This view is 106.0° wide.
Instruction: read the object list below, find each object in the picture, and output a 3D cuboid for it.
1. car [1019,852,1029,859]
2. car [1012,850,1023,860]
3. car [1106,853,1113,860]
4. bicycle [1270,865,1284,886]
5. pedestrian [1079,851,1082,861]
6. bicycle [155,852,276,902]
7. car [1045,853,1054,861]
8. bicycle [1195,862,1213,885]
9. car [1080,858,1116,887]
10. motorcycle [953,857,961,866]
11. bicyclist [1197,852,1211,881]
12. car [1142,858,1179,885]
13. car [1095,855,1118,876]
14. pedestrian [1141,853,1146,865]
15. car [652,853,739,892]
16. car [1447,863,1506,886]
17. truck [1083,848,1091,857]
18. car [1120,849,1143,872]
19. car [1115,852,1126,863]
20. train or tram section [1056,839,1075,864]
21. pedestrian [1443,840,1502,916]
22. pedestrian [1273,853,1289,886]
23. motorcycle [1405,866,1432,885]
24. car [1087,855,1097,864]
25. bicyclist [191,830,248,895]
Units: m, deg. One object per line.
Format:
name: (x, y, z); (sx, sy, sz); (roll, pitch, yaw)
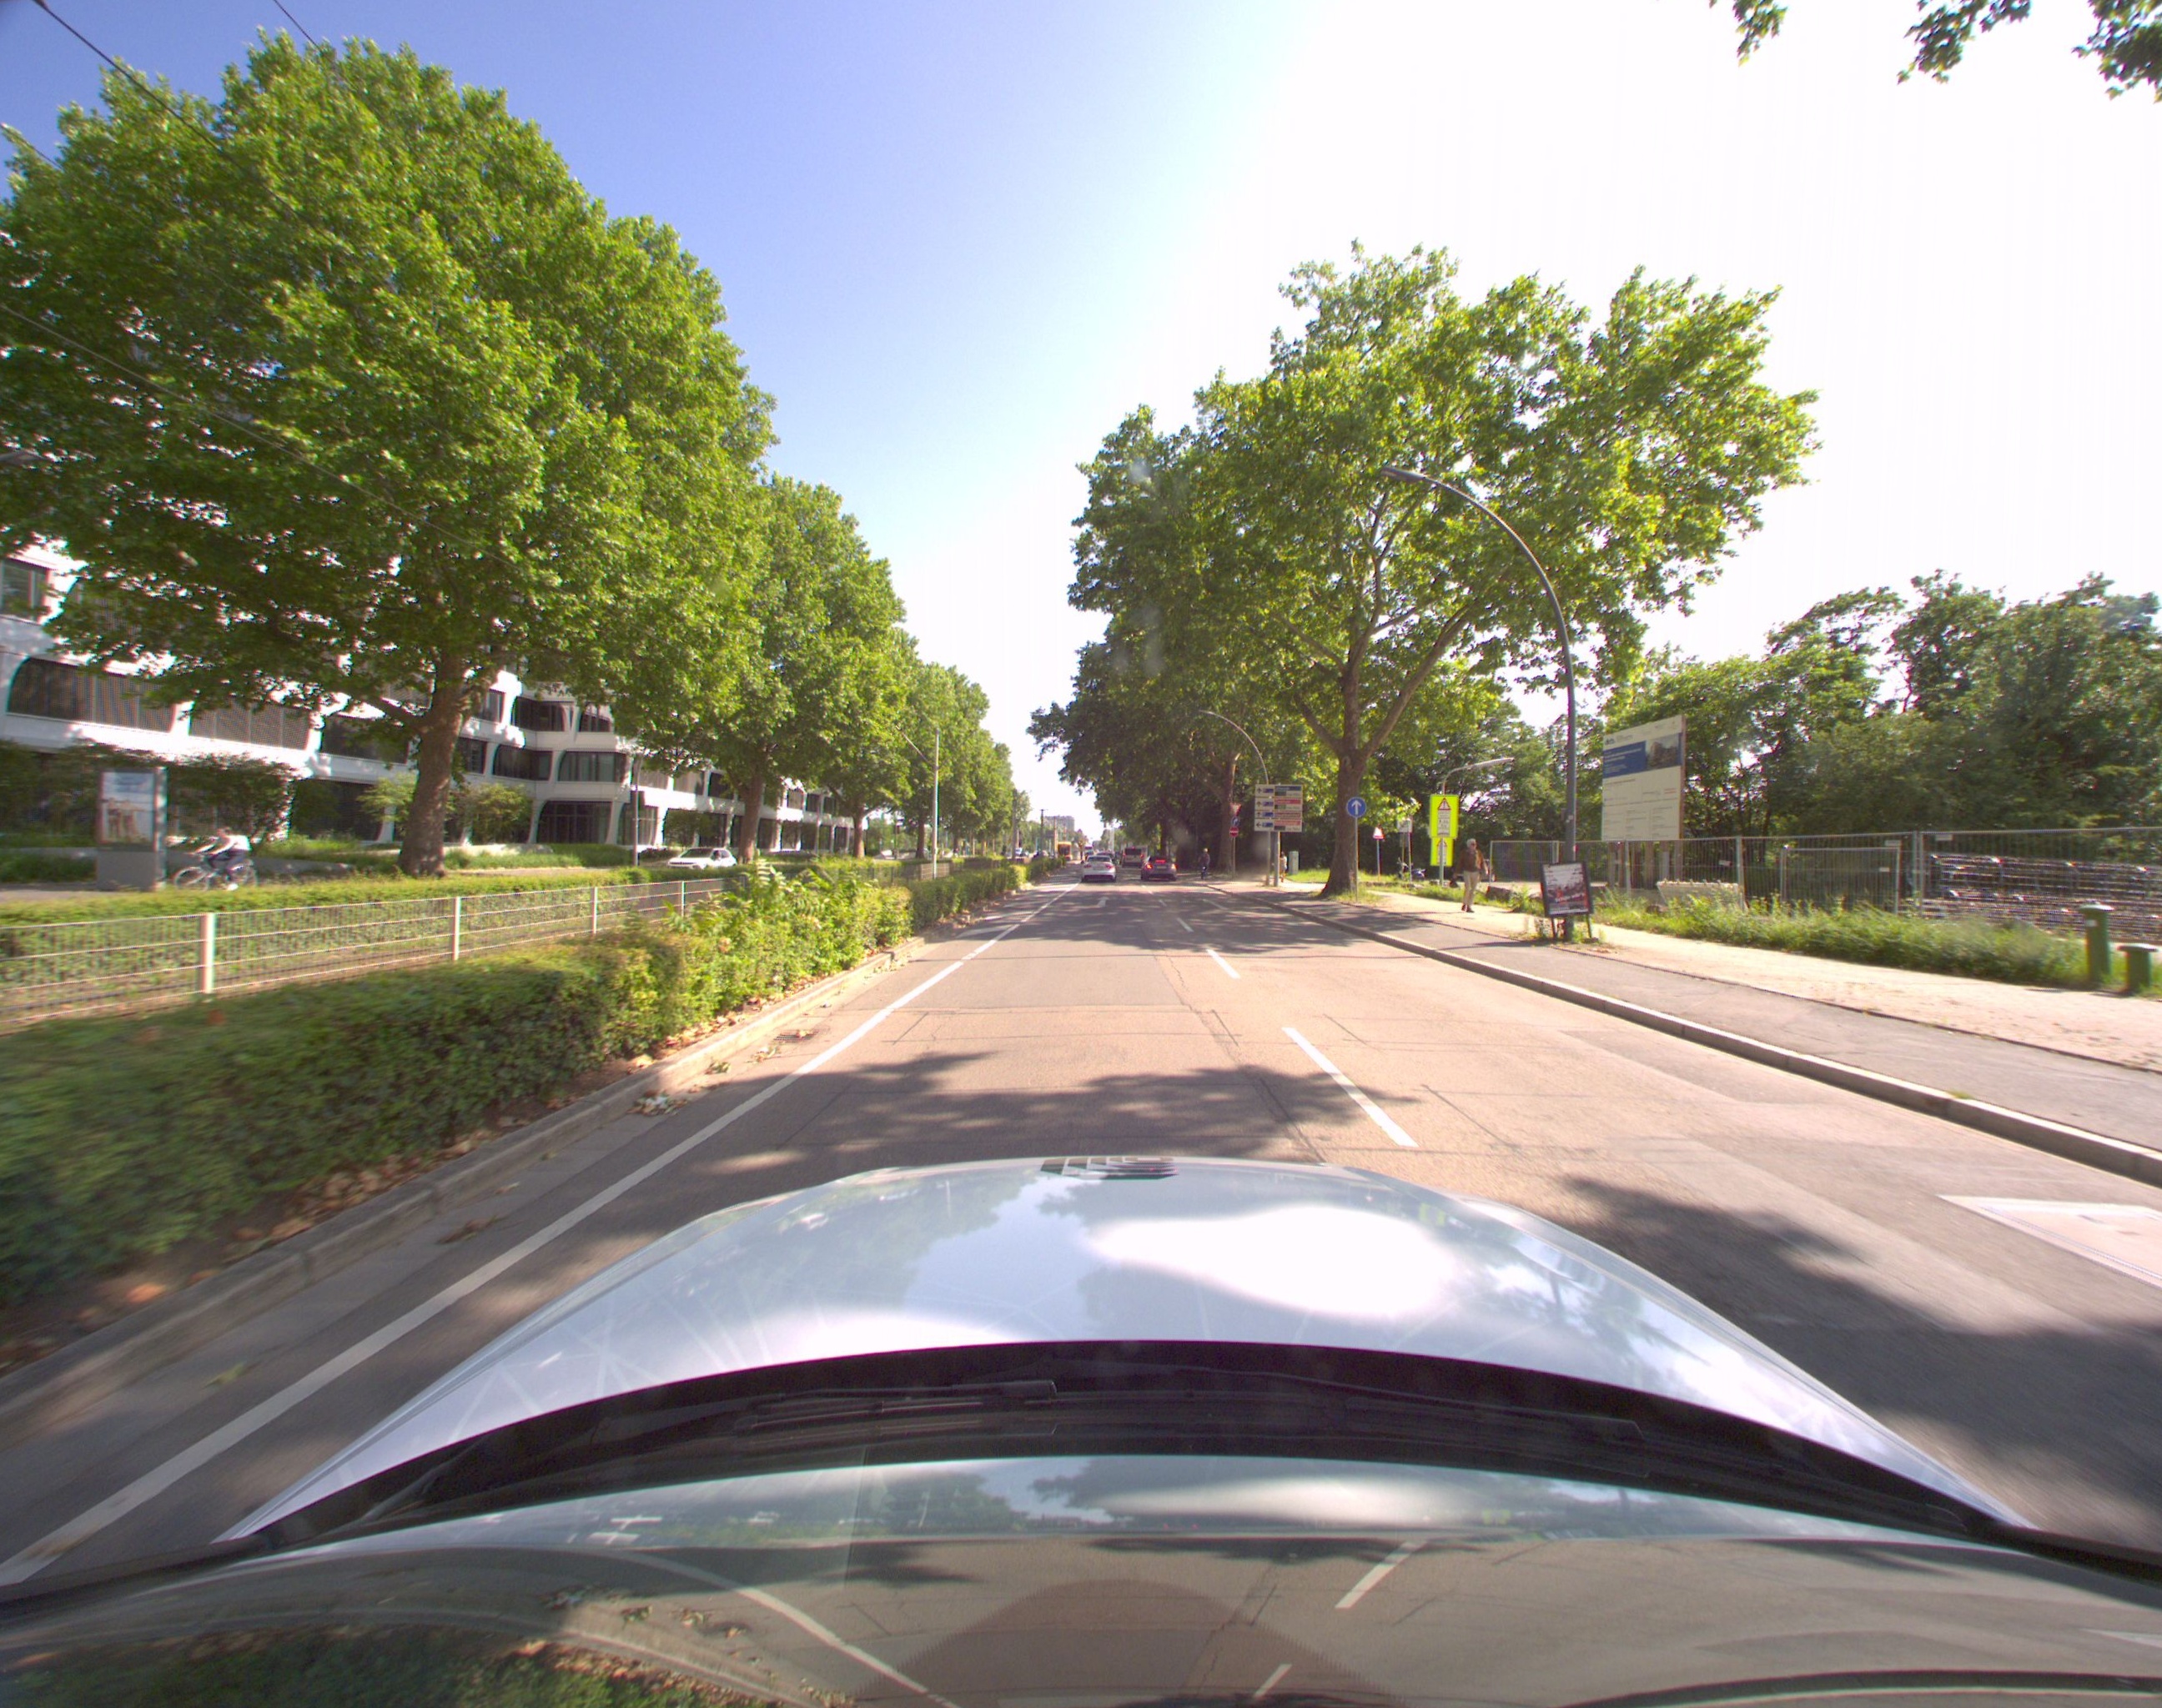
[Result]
car: (-13.819, 0.273, 196.661); (1.823, 1.624, 4.898); (1, 0, 2)
car: (-16.097, 0.305, 206.862); (2.106, 2.383, 4.002); (1, 0, 2)
car: (7.278, 0.668, 210.085); (1.723, 1.901, 4.002); (1, 0, 2)
bicycle: (10.670, 1.182, 44.334); (0.348, 1.082, 1.699); (1, 0, 1)
pedestrian: (-0.056, 0.382, 161.158); (0.621, 1.918, 0.690); (1, 0, 2)
bicycle: (-20.781, 0.517, 19.623); (0.661, 1.124, 2.031); (2, 0, 2)
car: (-7.763, 0.755, 202.317); (1.986, 1.734, 4.002); (1, 0, 2)
bicycle: (7.074, 1.109, 46.845); (0.712, 1.148, 2.179); (-1, 2, 1)
car: (0.945, 0.937, 42.978); (1.778, 1.420, 3.886); (1, 0, 2)
motorcycle: (-15.877, 0.941, 104.095); (0.630, 1.175, 2.000); (1, 0, 2)
bicyclist: (7.075, 0.708, 46.909); (0.632, 1.648, 0.979); (-1, 1, 1)
car: (4.449, 0.942, 45.898); (1.776, 1.420, 4.002); (1, 0, 2)
car: (2.066, 0.907, 65.524); (1.723, 1.605, 3.886); (1, 0, 2)
pedestrian: (9.609, 0.782, 125.194); (0.633, 1.946, 0.719); (1, 0, 2)
car: (-16.637, 0.762, 35.377); (1.750, 1.569, 4.020); (2, 0, 2)
car: (26.106, 1.366, 53.738); (4.014, 1.454, 1.667); (1, 0, -33)
truck: (1.981, -0.582, 259.919); (1.986, 2.790, 8.523); (1, 0, 2)
car: (5.299, 0.668, 85.790); (2.221, 2.212, 4.163); (1, 0, 2)
car: (7.531, 0.622, 156.522); (2.064, 1.999, 4.060); (1, 0, 2)
train or tram section: (-2.621, -0.390, 136.844); (2.606, 4.015, 7.753); (1, 0, 2)
pedestrian: (10.052, 0.600, 20.951); (0.935, 1.892, 1.152); (1, 0, 2)
pedestrian: (10.914, 0.828, 44.426); (0.629, 1.785, 0.874); (1, 0, 1)
motorcycle: (18.010, 1.135, 43.462); (1.217, 0.967, 0.470); (1, 0, -6)
car: (2.011, 1.017, 146.243); (1.723, 1.631, 4.002); (1, 0, 2)
bicyclist: (-20.771, 0.206, 19.641); (0.652, 1.535, 0.641); (1, 0, 2)
